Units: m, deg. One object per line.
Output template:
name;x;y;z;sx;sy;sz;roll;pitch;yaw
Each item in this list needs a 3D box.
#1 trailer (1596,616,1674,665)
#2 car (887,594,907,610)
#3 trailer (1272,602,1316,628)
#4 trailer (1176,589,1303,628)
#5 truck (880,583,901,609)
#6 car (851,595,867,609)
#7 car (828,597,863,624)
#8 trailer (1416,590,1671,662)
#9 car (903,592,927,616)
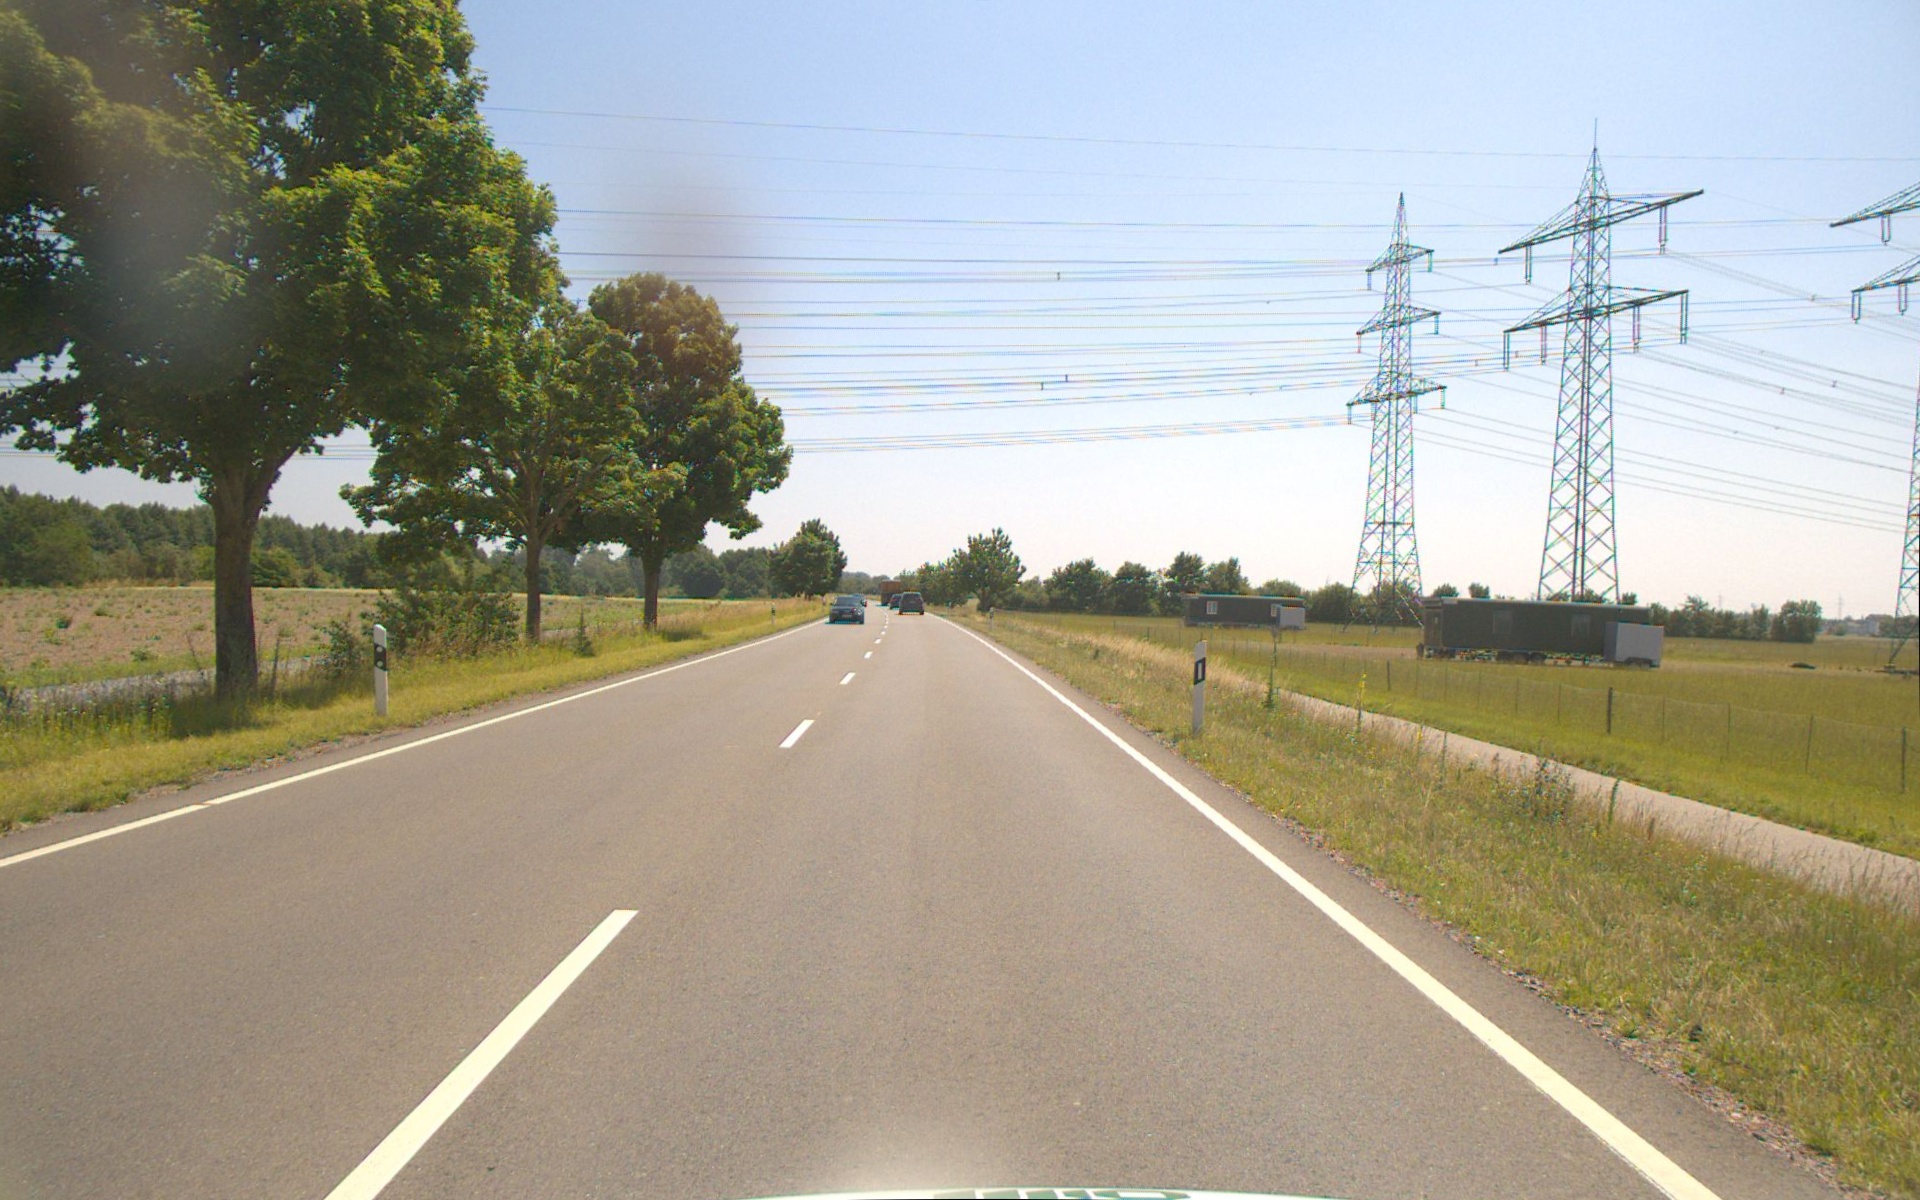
trailer;36.850;2.222;90.399;3.340;2.505;2.036;2;0;-3
car;-6.211;0.193;162.095;1.814;1.549;3.997;1;0;-4
trailer;33.792;1.521;167.442;3.911;2.485;1.997;2;0;-7
trailer;28.683;0.828;170.085;12.168;3.533;3.801;2;0;-5
truck;-8.720;-0.500;206.520;2.324;3.195;8.739;1;0;-5
car;-11.332;0.209;185.457;1.699;1.472;3.999;1;0;-2
car;-5.796;0.525;84.104;1.671;1.356;3.998;1;0;-3
trailer;32.704;1.422;92.956;13.241;3.535;3.274;2;0;-4
car;-3.426;0.292;125.410;1.680;1.723;3.986;1;0;-3
